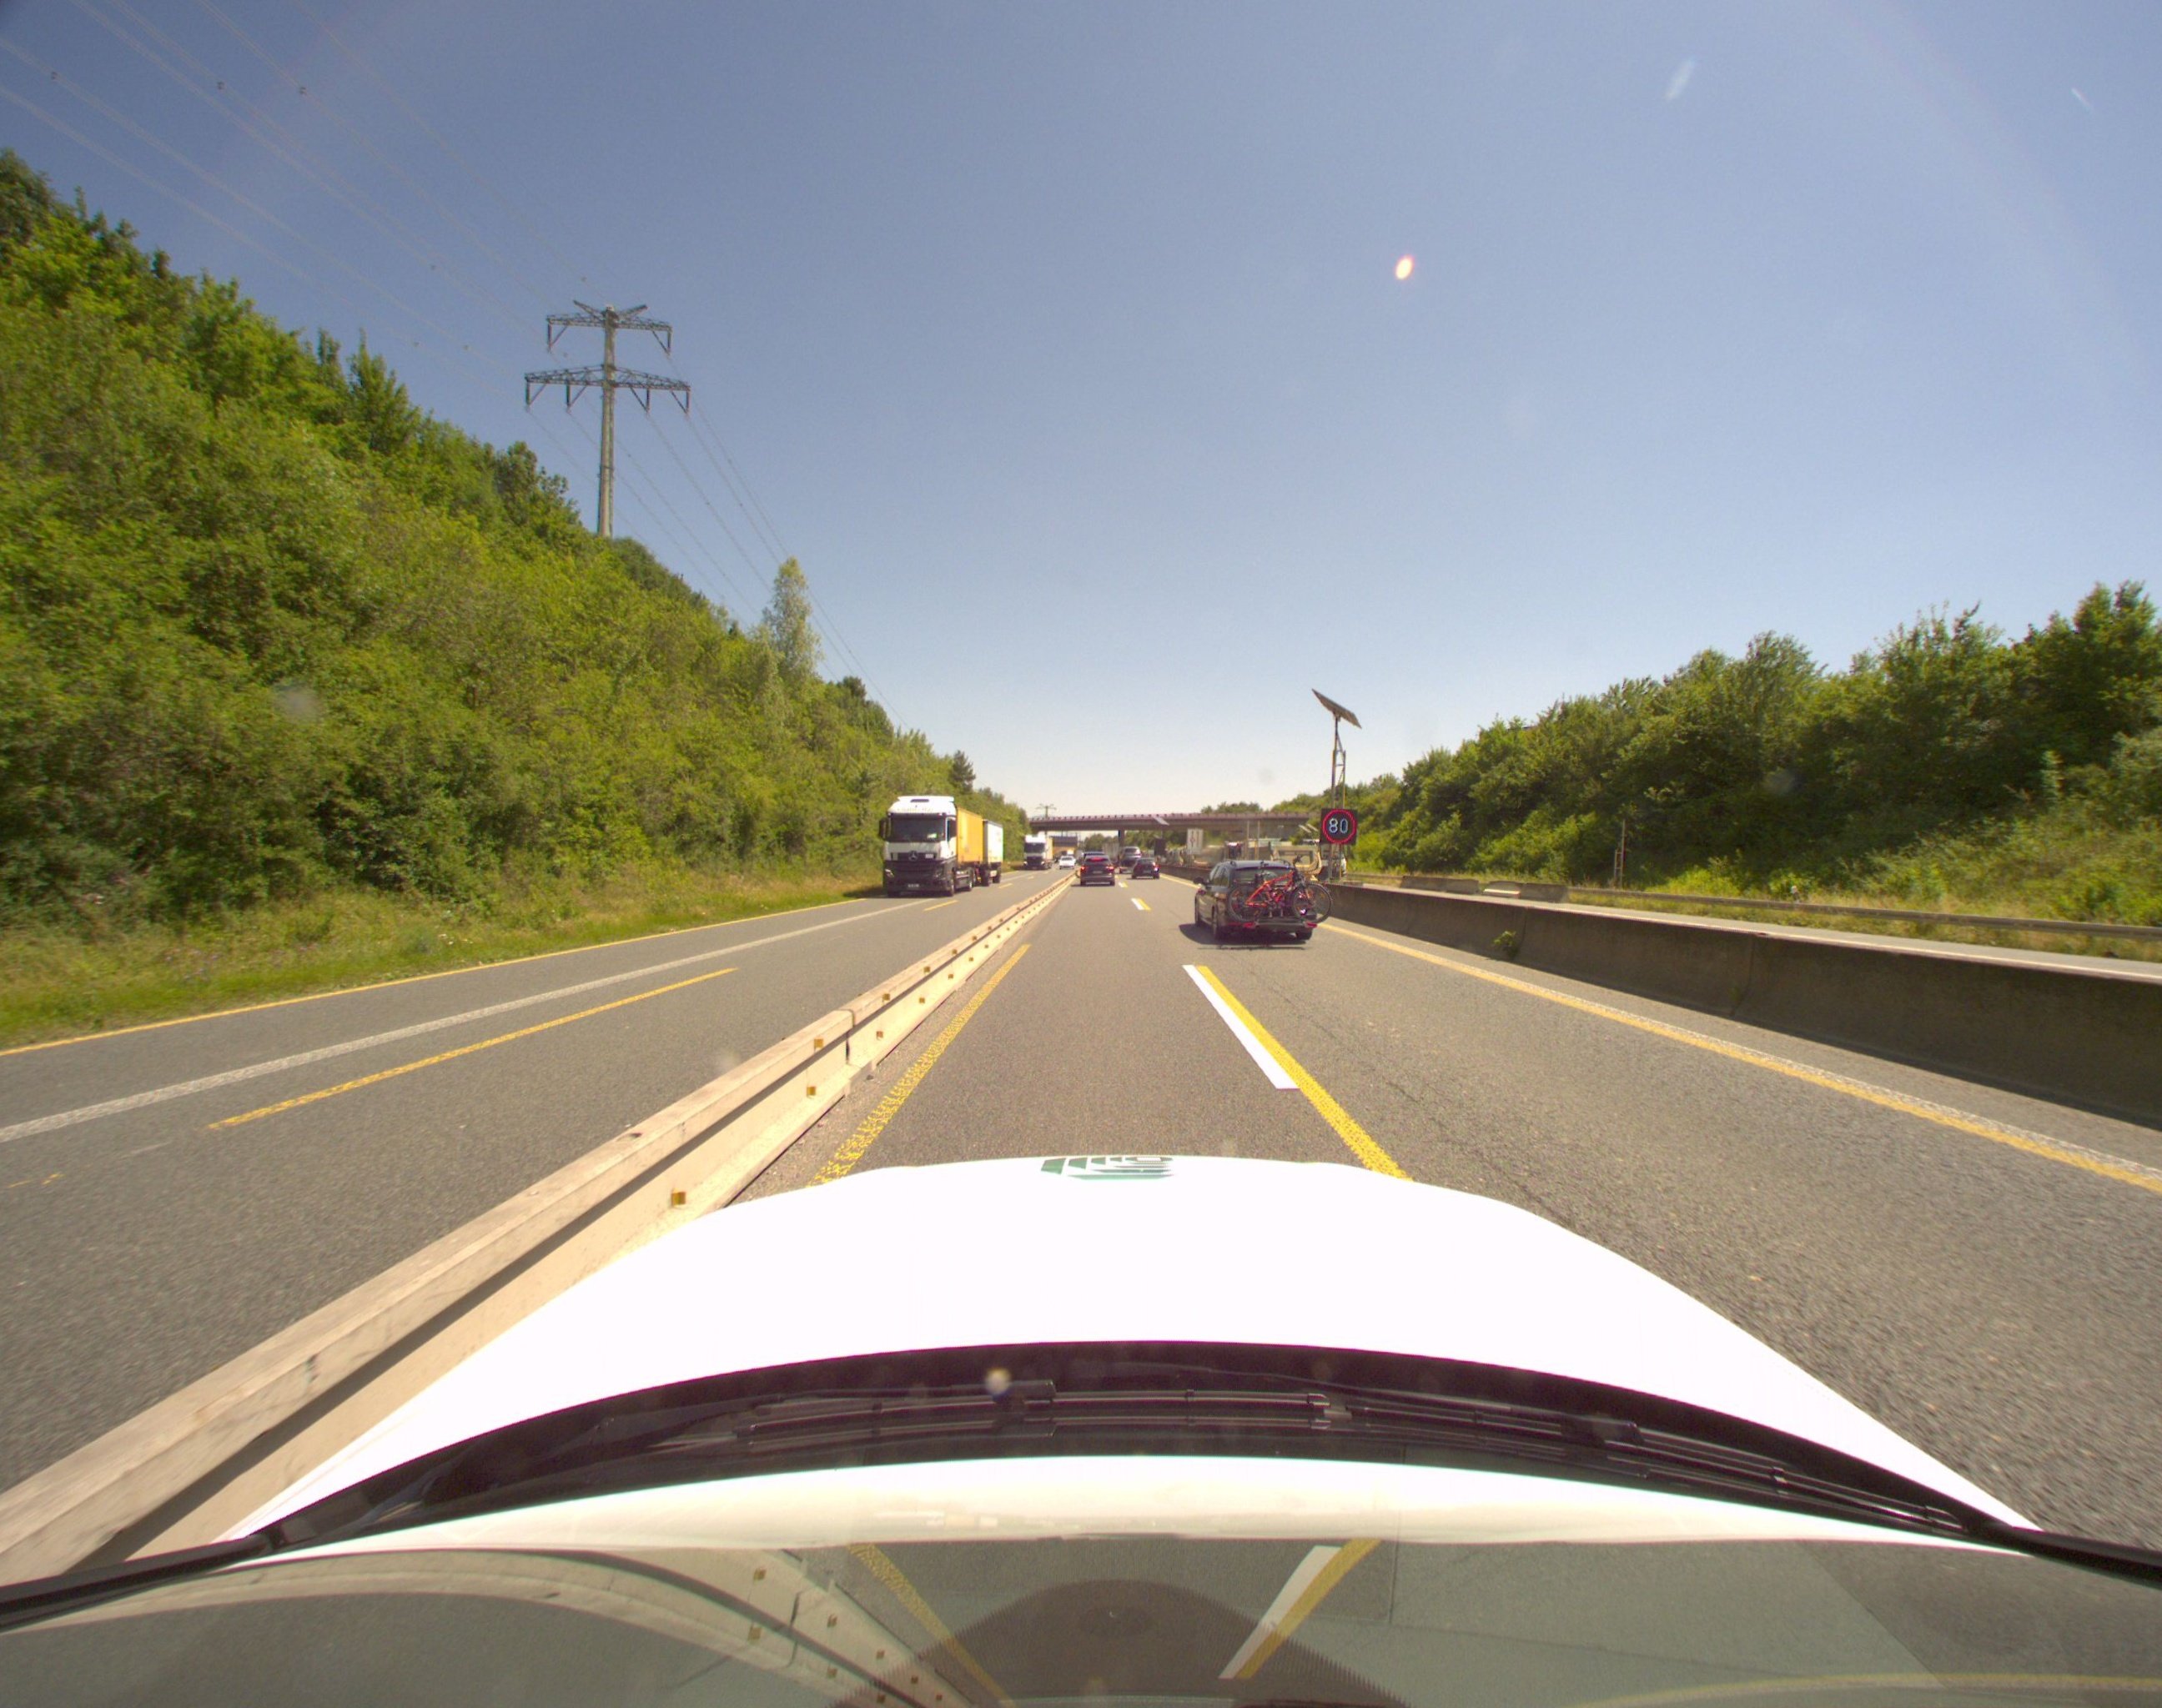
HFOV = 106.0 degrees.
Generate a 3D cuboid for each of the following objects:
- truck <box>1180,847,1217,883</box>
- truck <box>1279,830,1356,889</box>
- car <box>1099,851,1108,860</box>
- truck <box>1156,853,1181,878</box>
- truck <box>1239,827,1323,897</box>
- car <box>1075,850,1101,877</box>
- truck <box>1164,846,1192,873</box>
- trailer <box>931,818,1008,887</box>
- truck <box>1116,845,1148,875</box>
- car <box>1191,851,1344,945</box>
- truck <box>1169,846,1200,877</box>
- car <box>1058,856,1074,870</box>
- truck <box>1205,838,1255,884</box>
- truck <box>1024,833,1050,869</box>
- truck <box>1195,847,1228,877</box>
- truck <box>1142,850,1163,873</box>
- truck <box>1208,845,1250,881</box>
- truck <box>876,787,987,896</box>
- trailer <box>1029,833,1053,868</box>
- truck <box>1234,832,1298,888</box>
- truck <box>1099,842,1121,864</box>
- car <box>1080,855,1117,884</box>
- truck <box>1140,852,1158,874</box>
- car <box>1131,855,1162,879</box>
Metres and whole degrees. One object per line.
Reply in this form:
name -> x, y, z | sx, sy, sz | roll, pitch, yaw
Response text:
truck -> 12.240, 1.133, 85.854 | 2.678, 3.557, 9.603 | 0, 0, 1
truck -> 15.120, 0.364, 52.763 | 2.678, 3.511, 8.380 | 0, 0, 1
car -> 4.916, 0.359, 179.300 | 1.892, 1.969, 4.277 | 0, 0, 1
truck -> 12.718, 1.638, 118.654 | 2.679, 3.557, 9.323 | 0, 0, 0
truck -> 10.865, 0.424, 45.161 | 2.524, 3.511, 9.097 | 0, 0, 1
car -> 0.562, 0.693, 61.464 | 1.892, 1.969, 4.277 | 0, 0, 1
truck -> 12.969, 0.708, 109.614 | 2.679, 3.557, 9.323 | 0, 0, 0
trailer -> -5.876, -0.069, 44.495 | 2.640, 3.336, 8.922 | 2, 0, 2
truck -> 4.513, 0.524, 73.774 | 2.398, 2.558, 7.498 | 0, 0, 0
car -> 3.309, 0.732, 15.474 | 1.892, 1.490, 4.949 | 0, -1, 1
truck -> 12.375, 0.833, 97.953 | 2.678, 3.557, 9.406 | 0, 0, 1
car -> -1.807, 1.114, 100.738 | 1.818, 1.631, 4.150 | 0, -1, 0
truck -> 12.204, 0.541, 67.439 | 2.530, 3.557, 9.603 | 0, 0, 1
truck -> -5.079, -0.280, 95.936 | 2.402, 3.992, 10.350 | 1, 0, 0
truck -> 15.288, 0.876, 96.090 | 2.677, 3.378, 9.606 | 0, 0, 2
truck -> 12.002, 1.216, 137.153 | 2.678, 3.761, 9.324 | 0, 0, 0
truck -> 15.220, 0.923, 84.441 | 2.678, 3.557, 9.603 | 0, 0, 1
truck -> -6.153, -0.452, 35.226 | 2.640, 3.992, 9.654 | 2, 0, 2
trailer -> -5.101, -0.421, 105.331 | 2.629, 4.313, 8.445 | 1, 0, 0
truck -> 12.401, 0.390, 55.386 | 2.524, 3.511, 8.947 | 0, 0, 2
truck -> 5.104, -0.167, 143.872 | 3.283, 3.845, 10.104 | 0, 0, -1
car -> 0.952, 0.805, 43.668 | 1.892, 1.505, 4.277 | 0, 0, 1
truck -> 12.360, 1.552, 148.676 | 2.678, 3.856, 9.324 | 0, 0, 0
car -> 4.472, 0.860, 55.906 | 1.892, 1.585, 4.278 | 0, 0, 2
